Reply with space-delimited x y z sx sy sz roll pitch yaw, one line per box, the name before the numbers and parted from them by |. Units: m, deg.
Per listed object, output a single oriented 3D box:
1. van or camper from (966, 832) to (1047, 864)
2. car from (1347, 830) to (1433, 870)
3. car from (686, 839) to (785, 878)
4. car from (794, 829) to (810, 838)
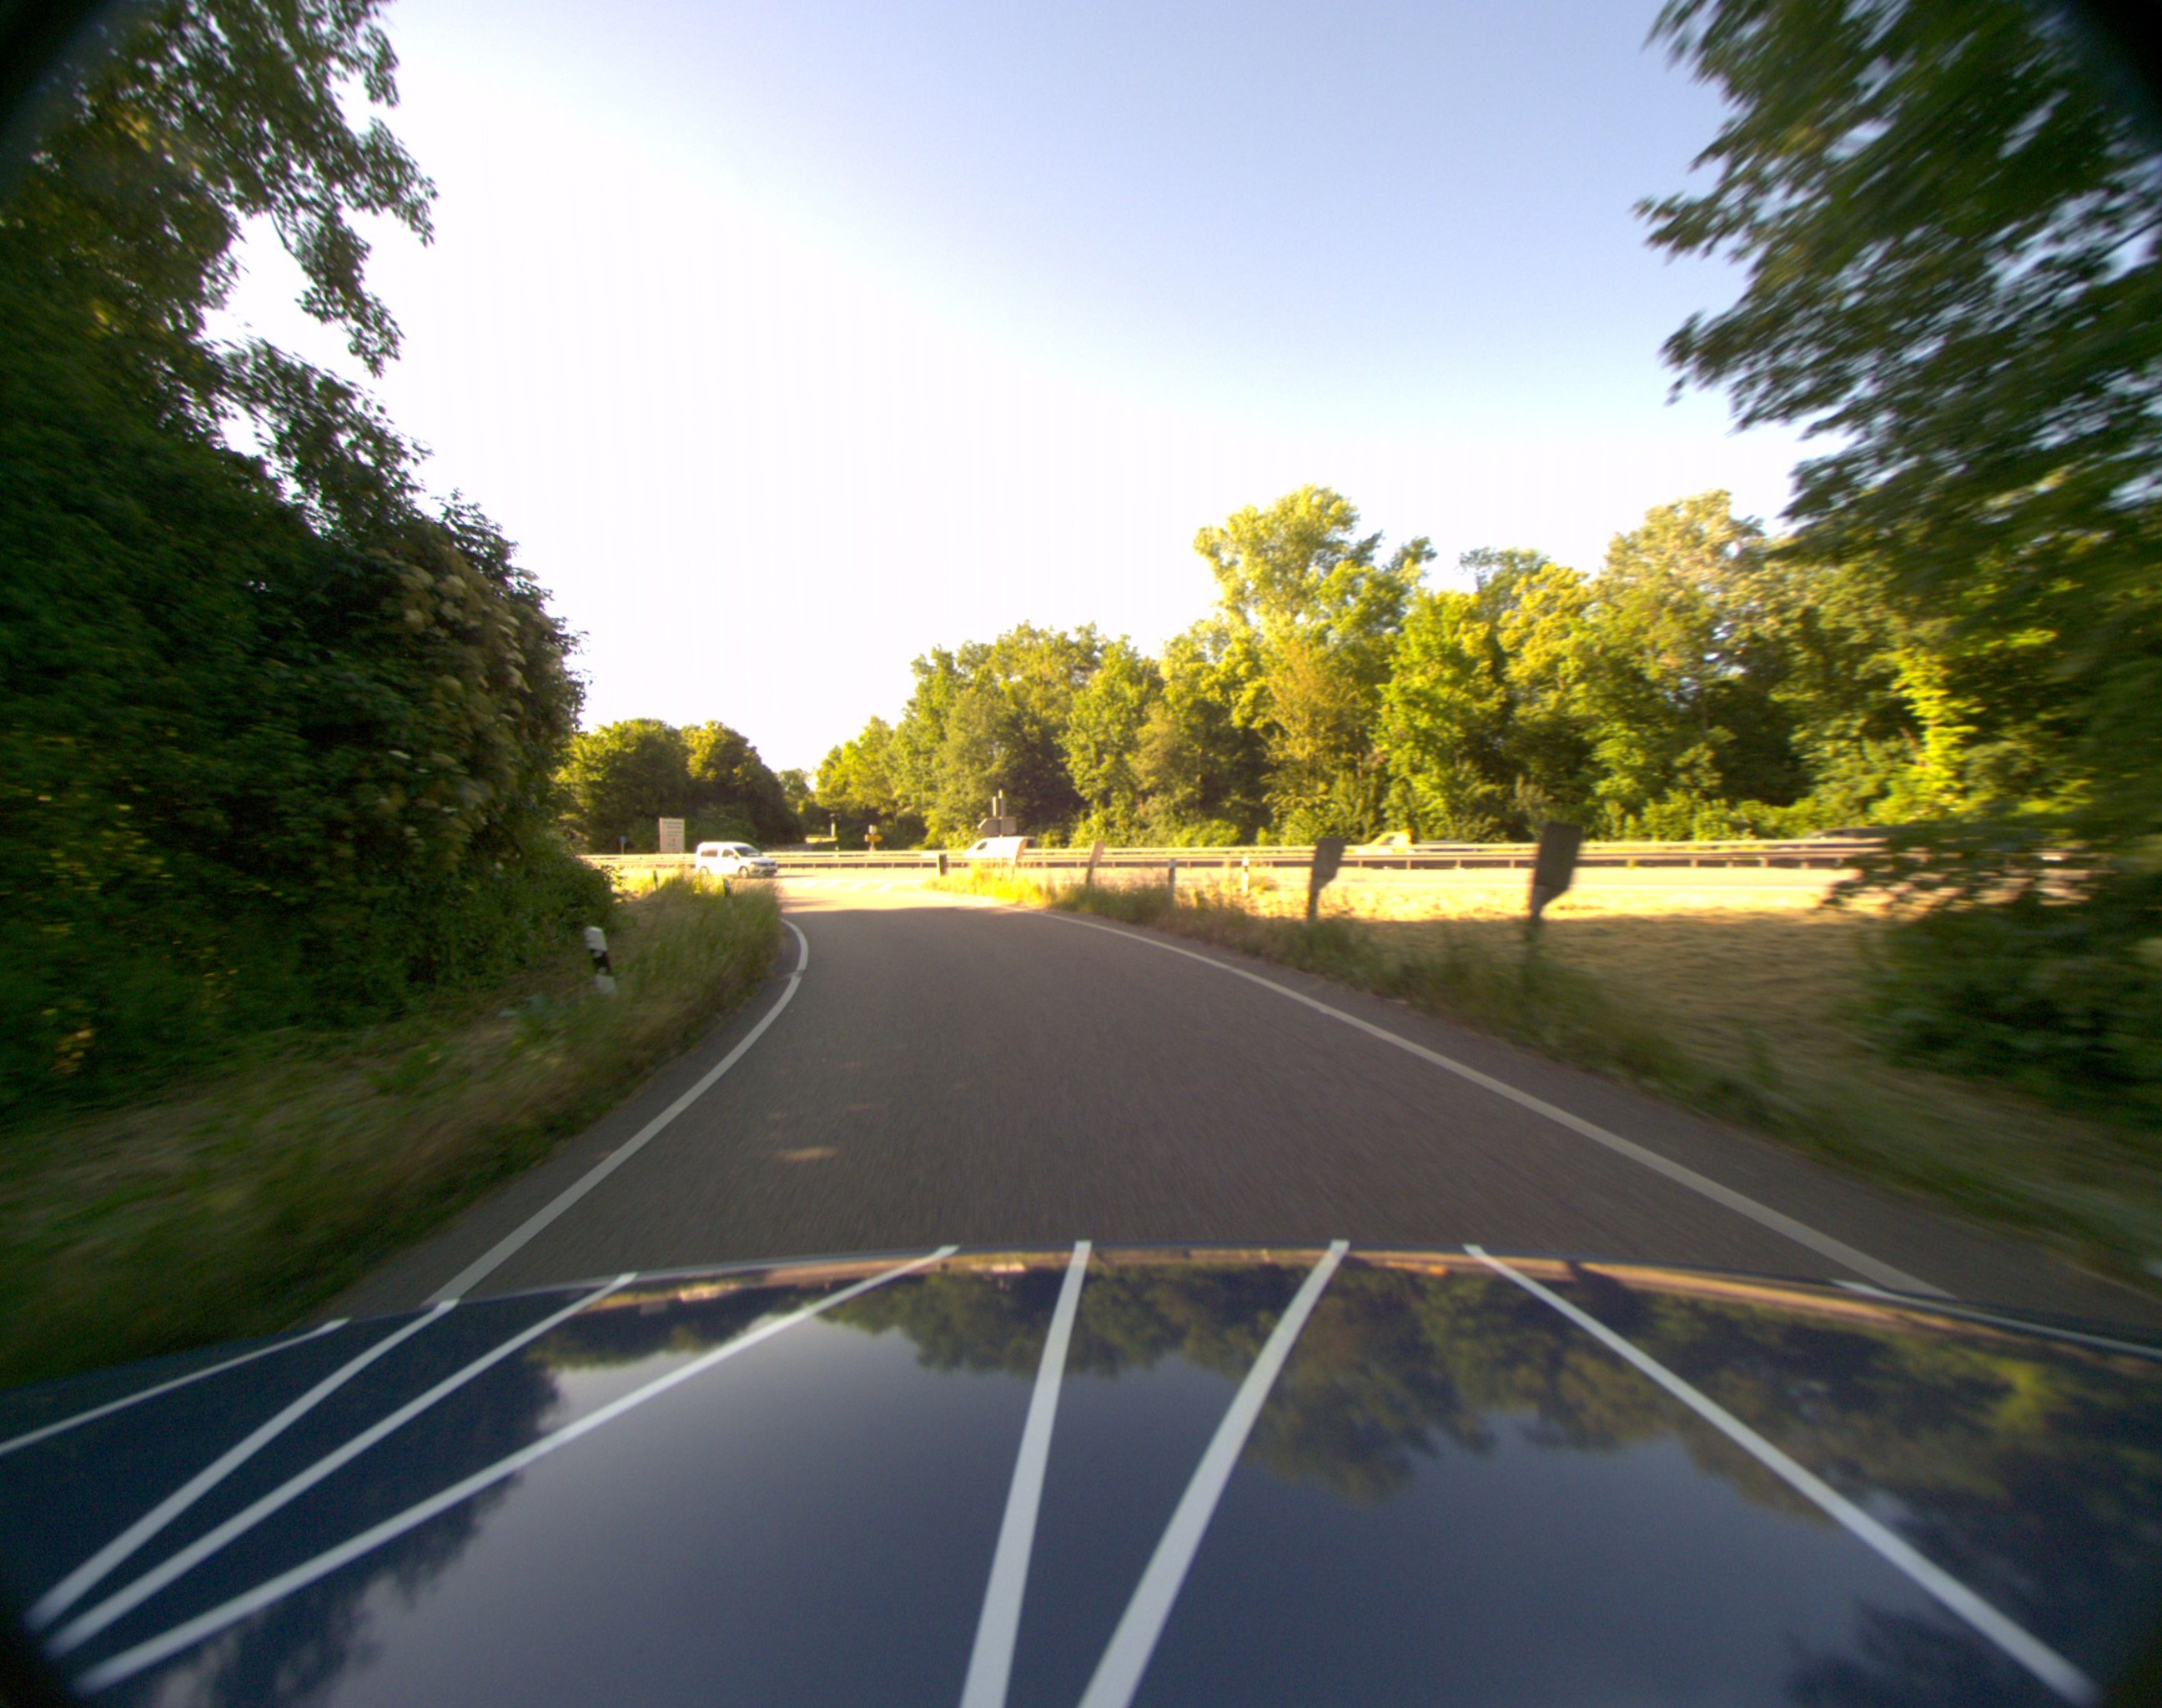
van or camper | -4.846 -0.401 49.578 4.806 2.002 2.083 0 2 25
car | 16.191 -0.243 39.829 3.989 2.002 2.003 0 2 28
car | -17.451 0.202 38.363 4.820 1.797 1.803 1 3 24
car | -54.517 -4.031 148.513 2.000 1.850 4.658 -1 3 -11
